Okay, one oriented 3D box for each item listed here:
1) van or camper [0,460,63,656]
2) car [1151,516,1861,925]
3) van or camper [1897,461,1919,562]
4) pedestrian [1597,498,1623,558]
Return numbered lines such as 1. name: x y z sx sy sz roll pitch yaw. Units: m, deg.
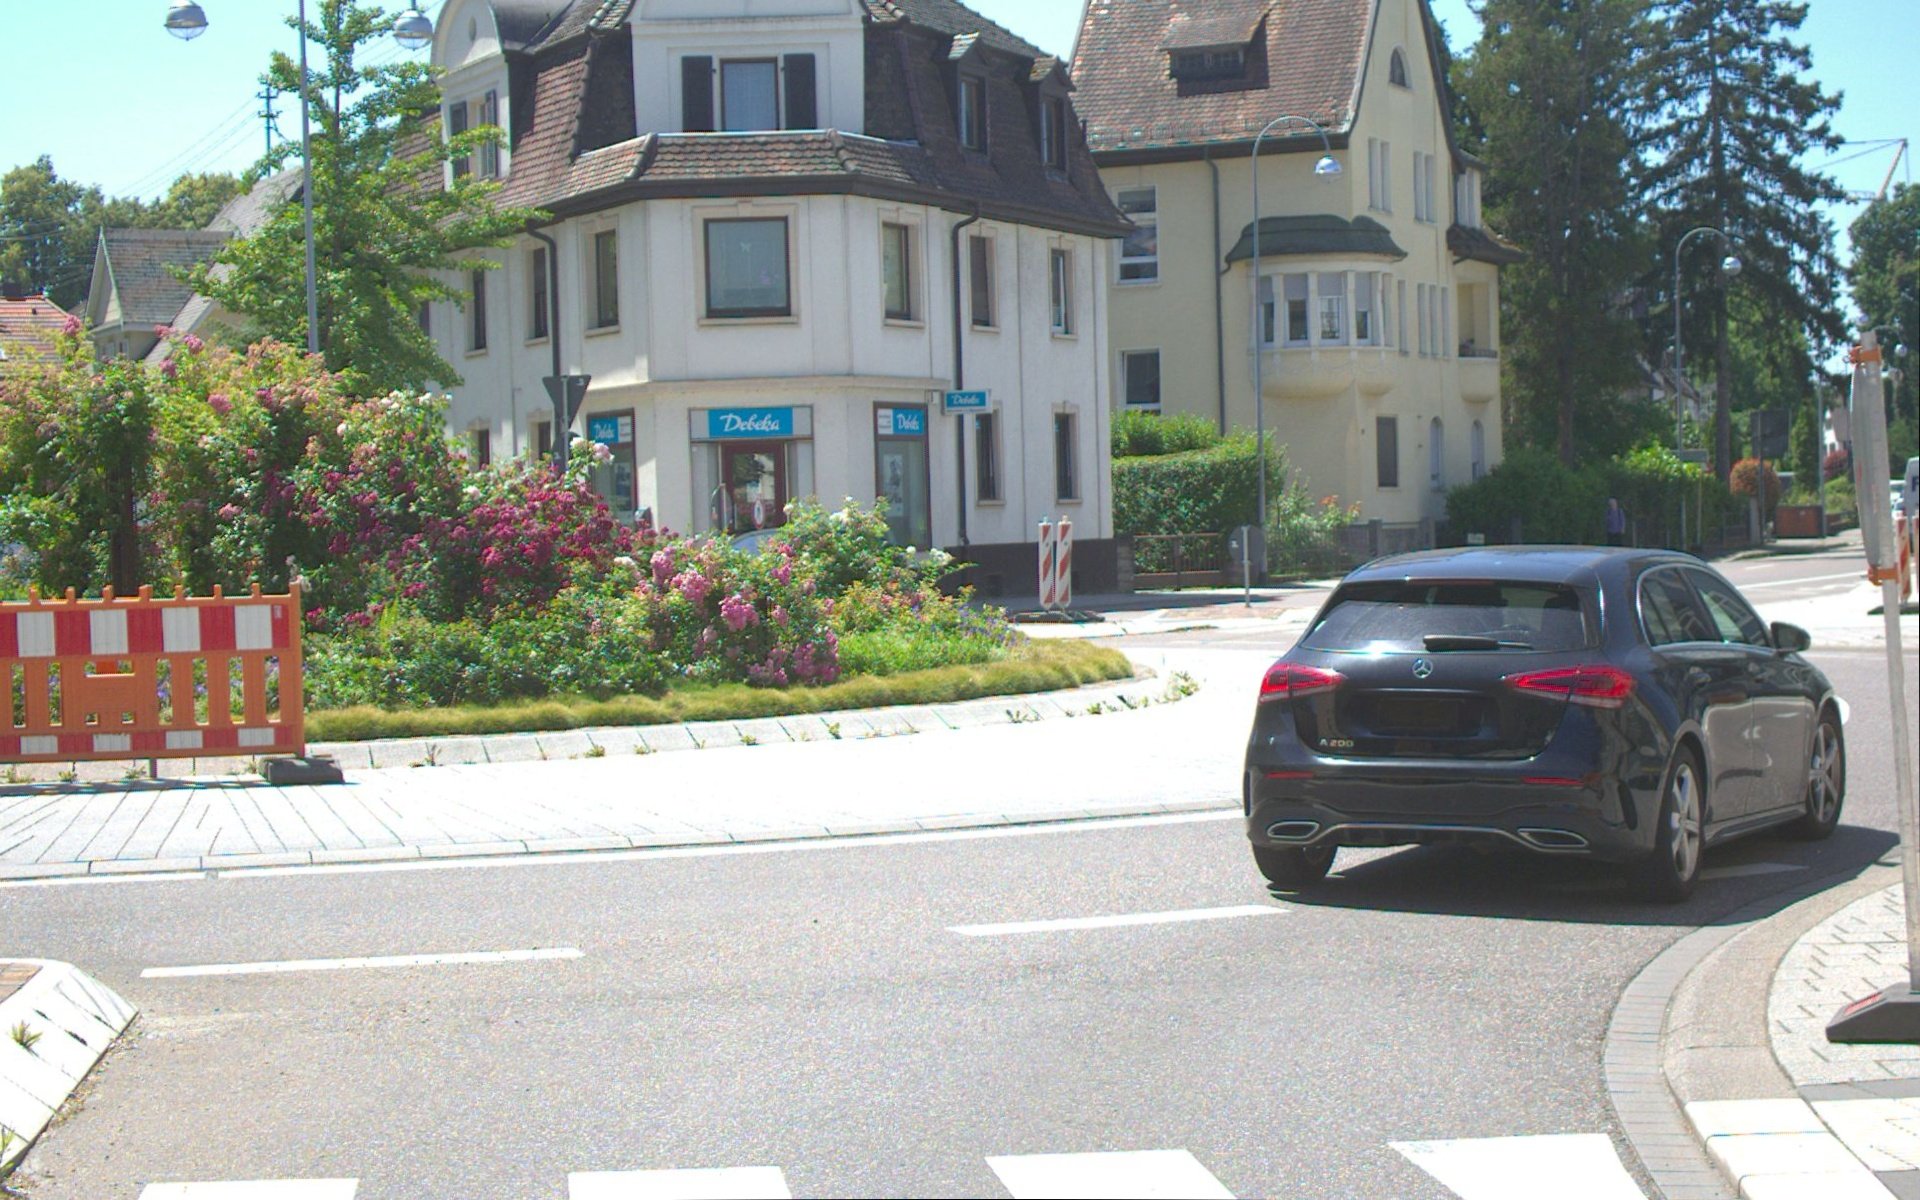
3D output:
1. van or camper: -12.731 -0.463 37.688 1.998 2.164 5.400 4 4 41
2. car: 2.541 0.402 15.104 1.956 1.422 3.995 0 3 27
3. van or camper: 25.976 -2.344 90.692 2.207 2.601 3.997 0 1 18
4. pedestrian: 16.559 -1.837 87.615 0.523 1.504 0.472 -1 1 26
